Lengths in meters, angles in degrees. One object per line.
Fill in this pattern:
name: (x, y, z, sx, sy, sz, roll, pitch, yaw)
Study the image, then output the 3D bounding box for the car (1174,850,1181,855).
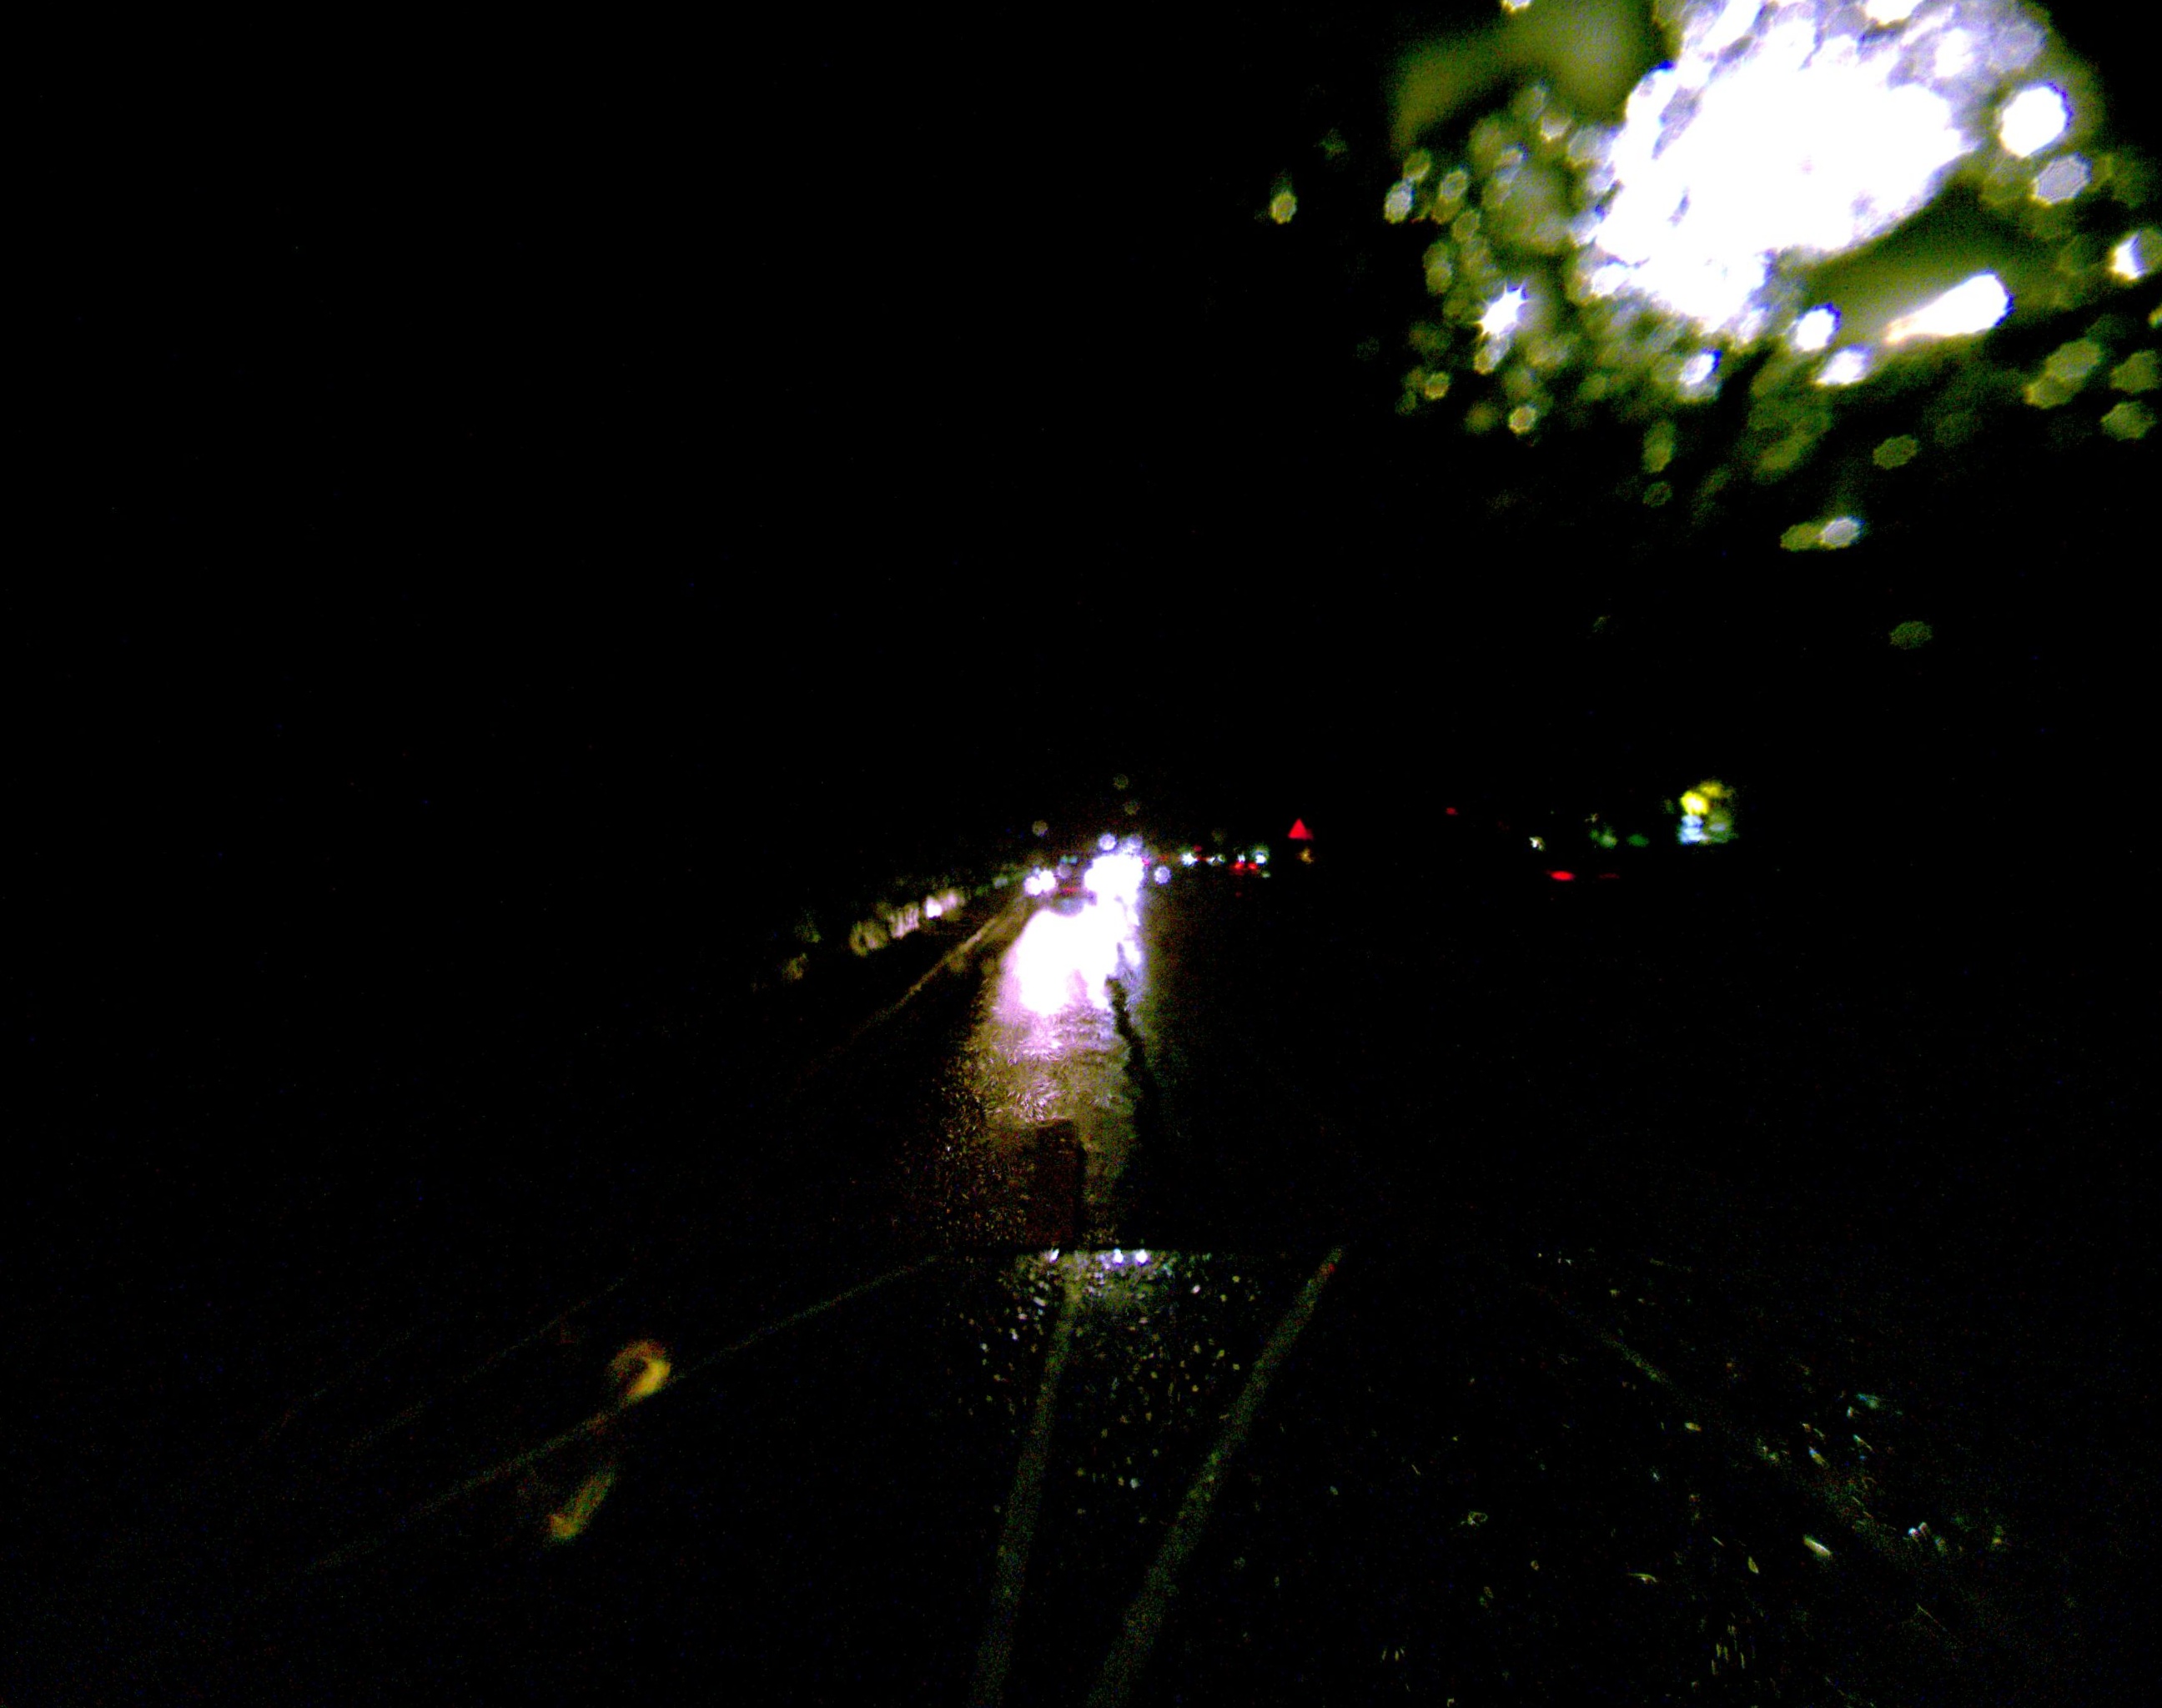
car: (29.375, -0.597, 230.349, 1.806, 1.416, 4.208, -1, 1, 11)

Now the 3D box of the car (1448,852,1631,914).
car: (13.124, 0.731, 22.199, 1.752, 1.495, 4.887, -2, 1, -11)

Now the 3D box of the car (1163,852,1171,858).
car: (23.436, 0.208, 207.172, 1.806, 1.416, 4.208, -1, 1, 13)

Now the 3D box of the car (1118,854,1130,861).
car: (9.304, 0.732, 163.435, 1.997, 1.456, 4.003, -1, 1, 11)

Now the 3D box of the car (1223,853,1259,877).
car: (12.292, 0.826, 58.602, 1.712, 1.644, 4.506, -1, 1, -1)

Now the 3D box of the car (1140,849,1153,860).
car: (11.455, 0.063, 133.108, 2.092, 1.691, 4.579, -1, 1, 7)

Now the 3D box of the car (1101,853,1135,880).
car: (2.379, 0.774, 50.303, 1.914, 1.694, 4.938, -1, 0, -1)

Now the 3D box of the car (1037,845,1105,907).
car: (-0.248, 0.662, 24.950, 1.877, 1.825, 4.206, -1, 0, 4)
